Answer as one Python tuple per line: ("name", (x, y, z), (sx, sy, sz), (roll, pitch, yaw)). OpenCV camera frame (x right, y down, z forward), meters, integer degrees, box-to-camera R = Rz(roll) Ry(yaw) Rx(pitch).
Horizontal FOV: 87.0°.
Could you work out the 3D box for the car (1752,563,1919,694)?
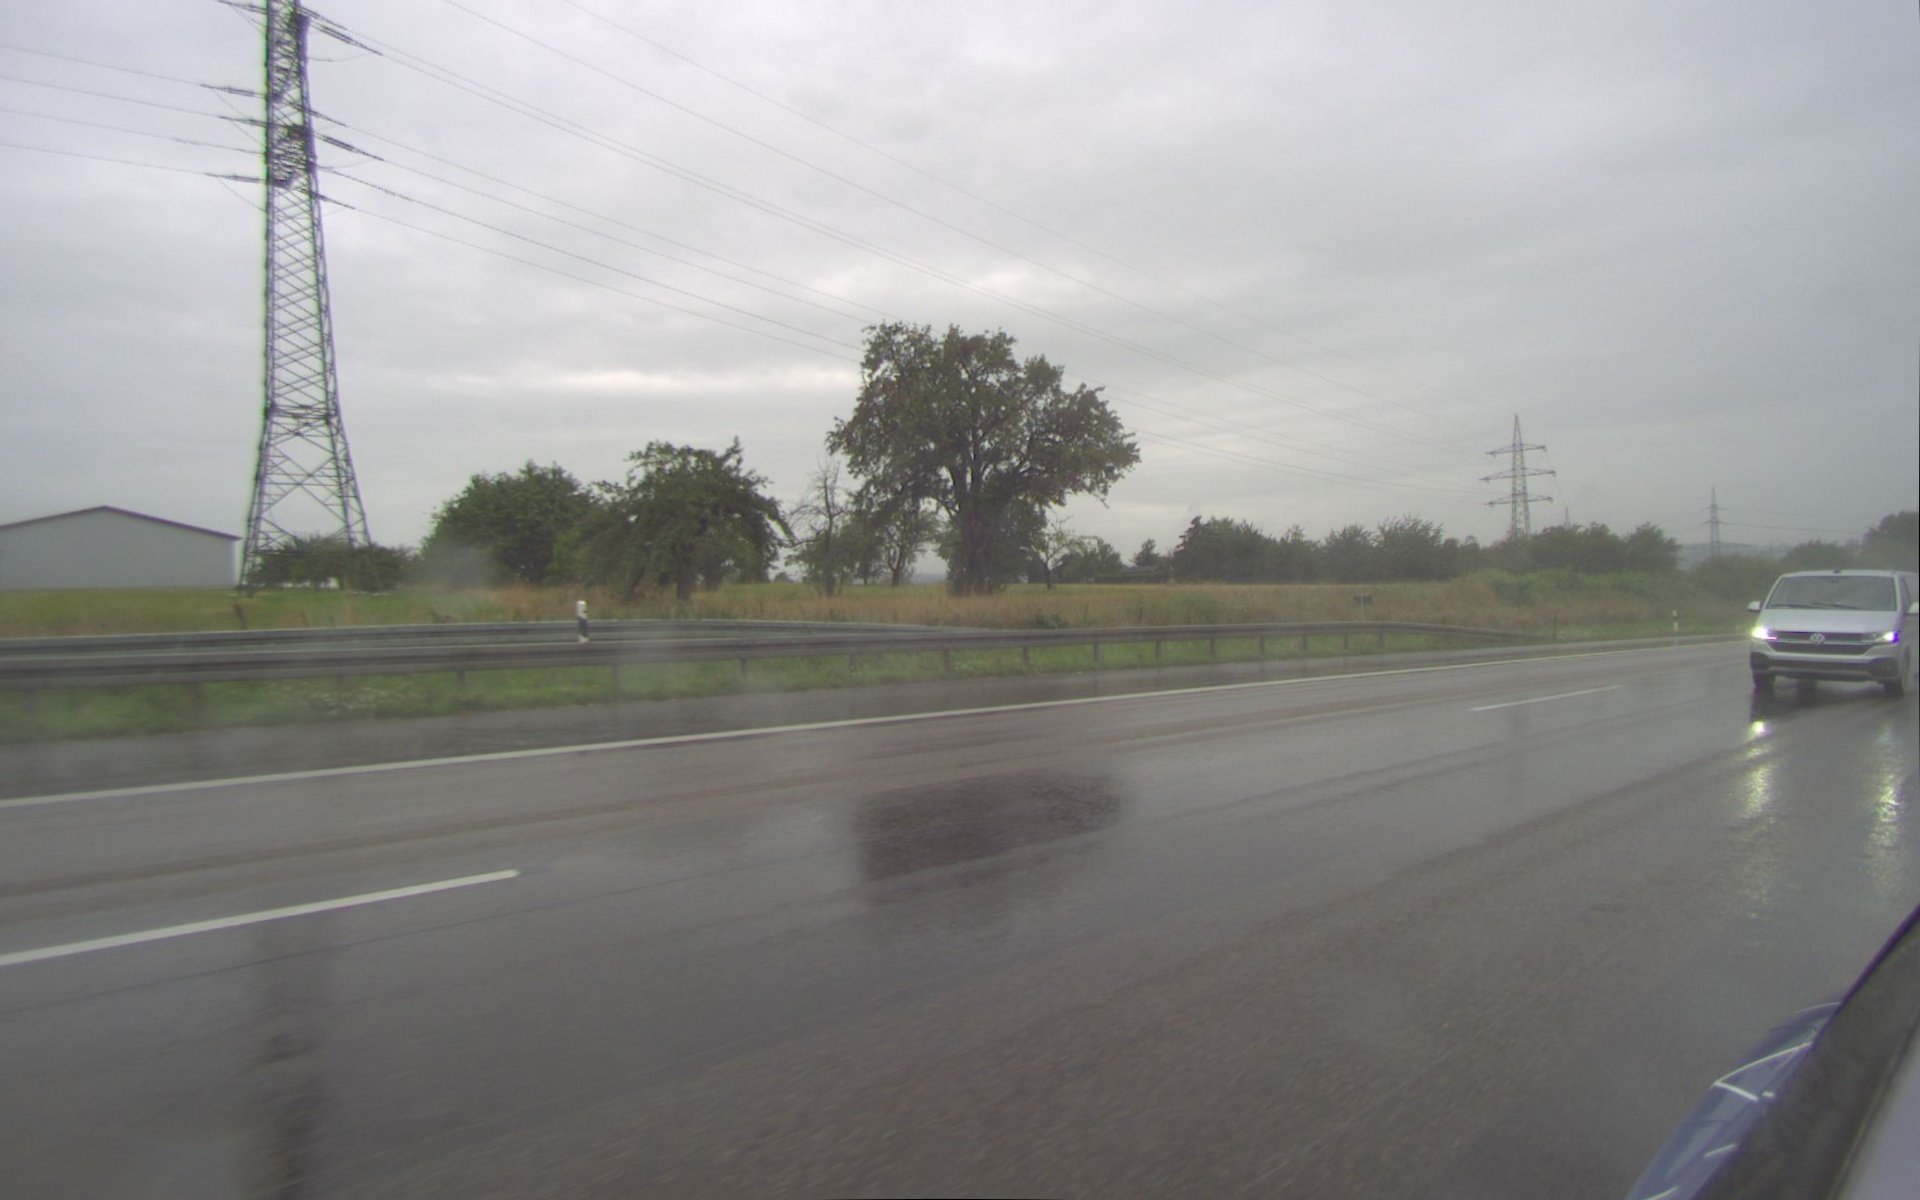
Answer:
("car", (15.144, 0.450, 16.983), (4.920, 1.908, 1.890), (0, -2, -40))
